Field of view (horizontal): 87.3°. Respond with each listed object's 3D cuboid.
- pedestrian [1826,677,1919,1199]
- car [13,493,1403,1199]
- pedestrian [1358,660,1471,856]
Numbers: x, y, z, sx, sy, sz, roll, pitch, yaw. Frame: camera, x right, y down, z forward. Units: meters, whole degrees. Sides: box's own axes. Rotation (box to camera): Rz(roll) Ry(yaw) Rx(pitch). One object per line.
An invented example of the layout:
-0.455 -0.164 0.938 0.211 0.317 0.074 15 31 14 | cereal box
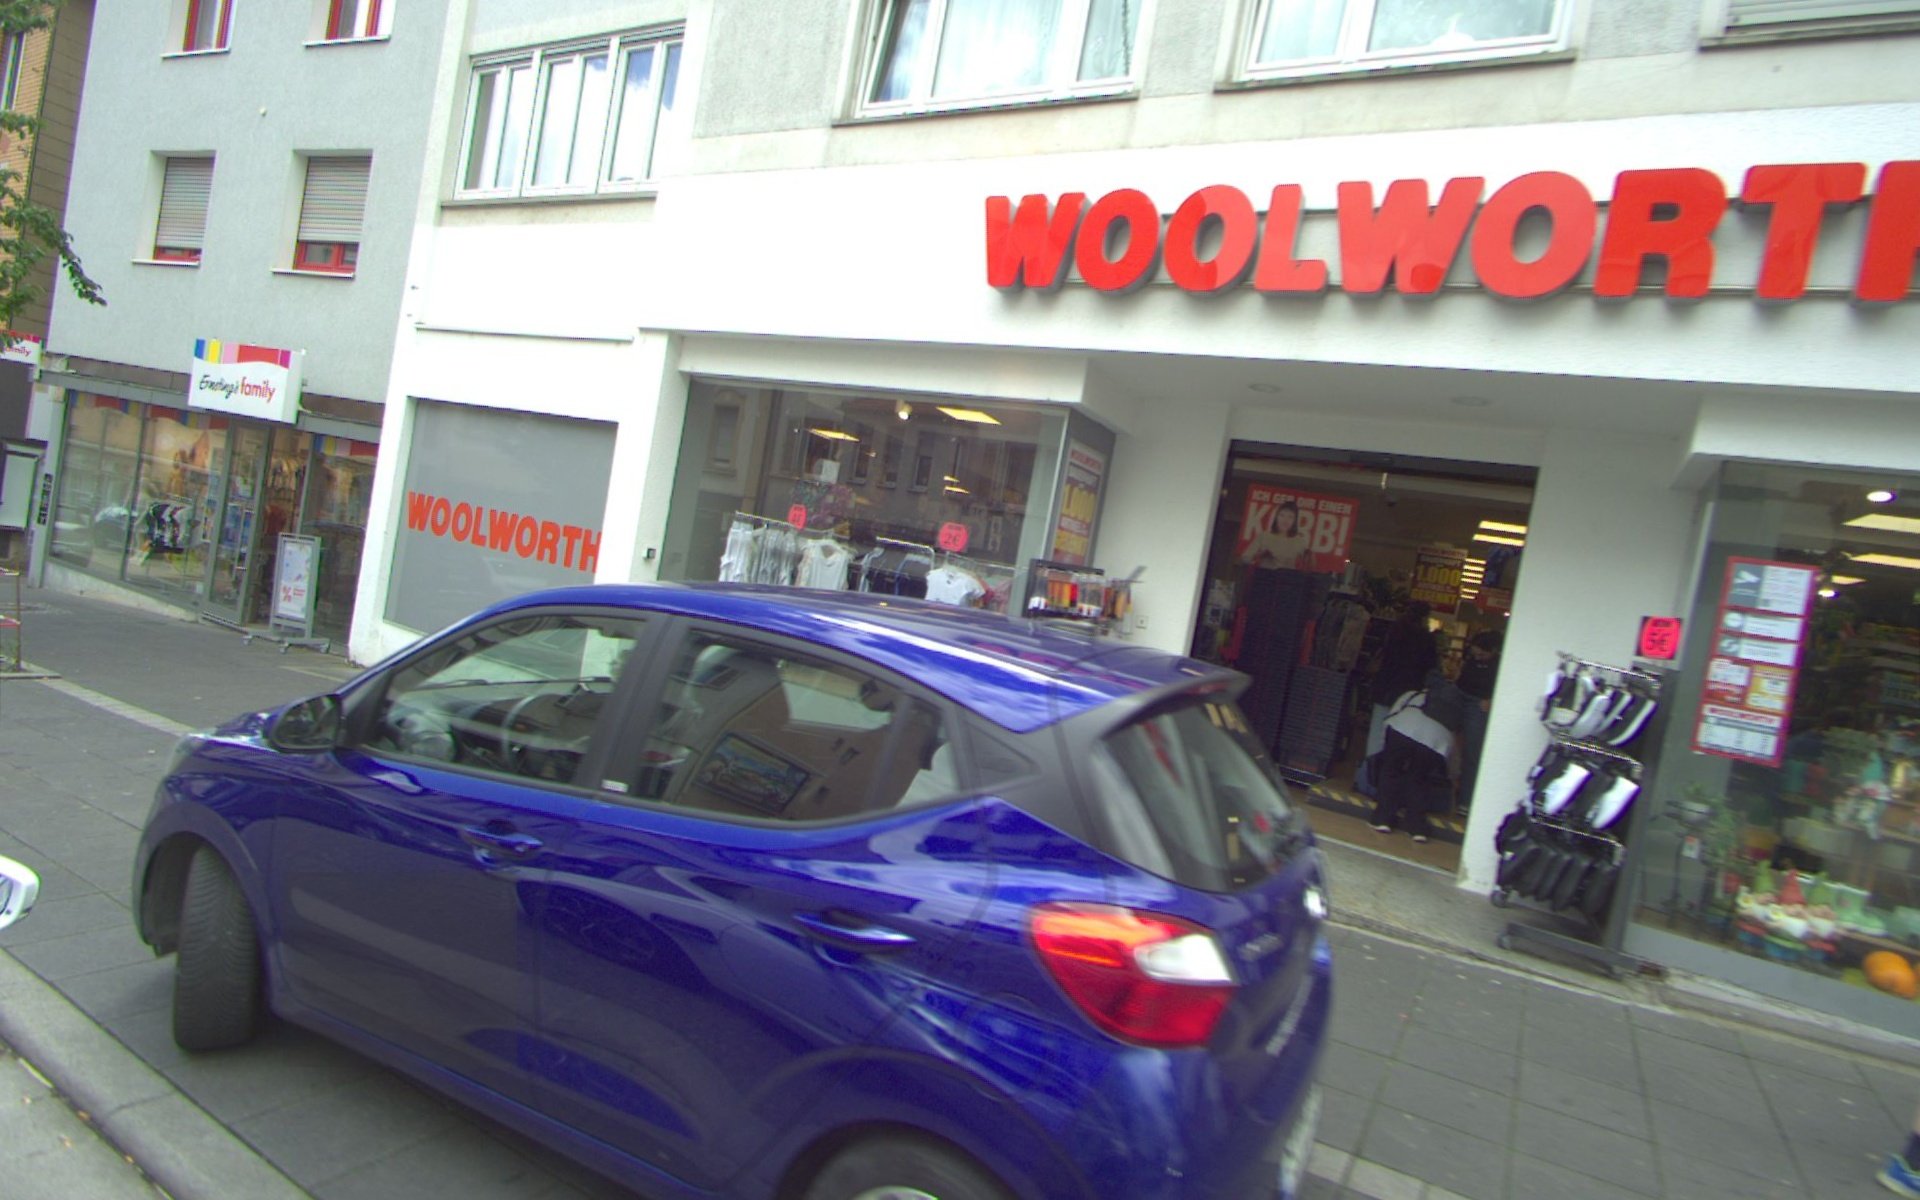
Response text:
3.308 1.074 2.981 0.803 1.580 0.757 8 1 29 | pedestrian
-0.816 0.630 3.024 3.733 1.517 1.750 6 2 27 | car
3.289 1.109 7.274 0.578 1.281 0.505 7 1 27 | pedestrian
